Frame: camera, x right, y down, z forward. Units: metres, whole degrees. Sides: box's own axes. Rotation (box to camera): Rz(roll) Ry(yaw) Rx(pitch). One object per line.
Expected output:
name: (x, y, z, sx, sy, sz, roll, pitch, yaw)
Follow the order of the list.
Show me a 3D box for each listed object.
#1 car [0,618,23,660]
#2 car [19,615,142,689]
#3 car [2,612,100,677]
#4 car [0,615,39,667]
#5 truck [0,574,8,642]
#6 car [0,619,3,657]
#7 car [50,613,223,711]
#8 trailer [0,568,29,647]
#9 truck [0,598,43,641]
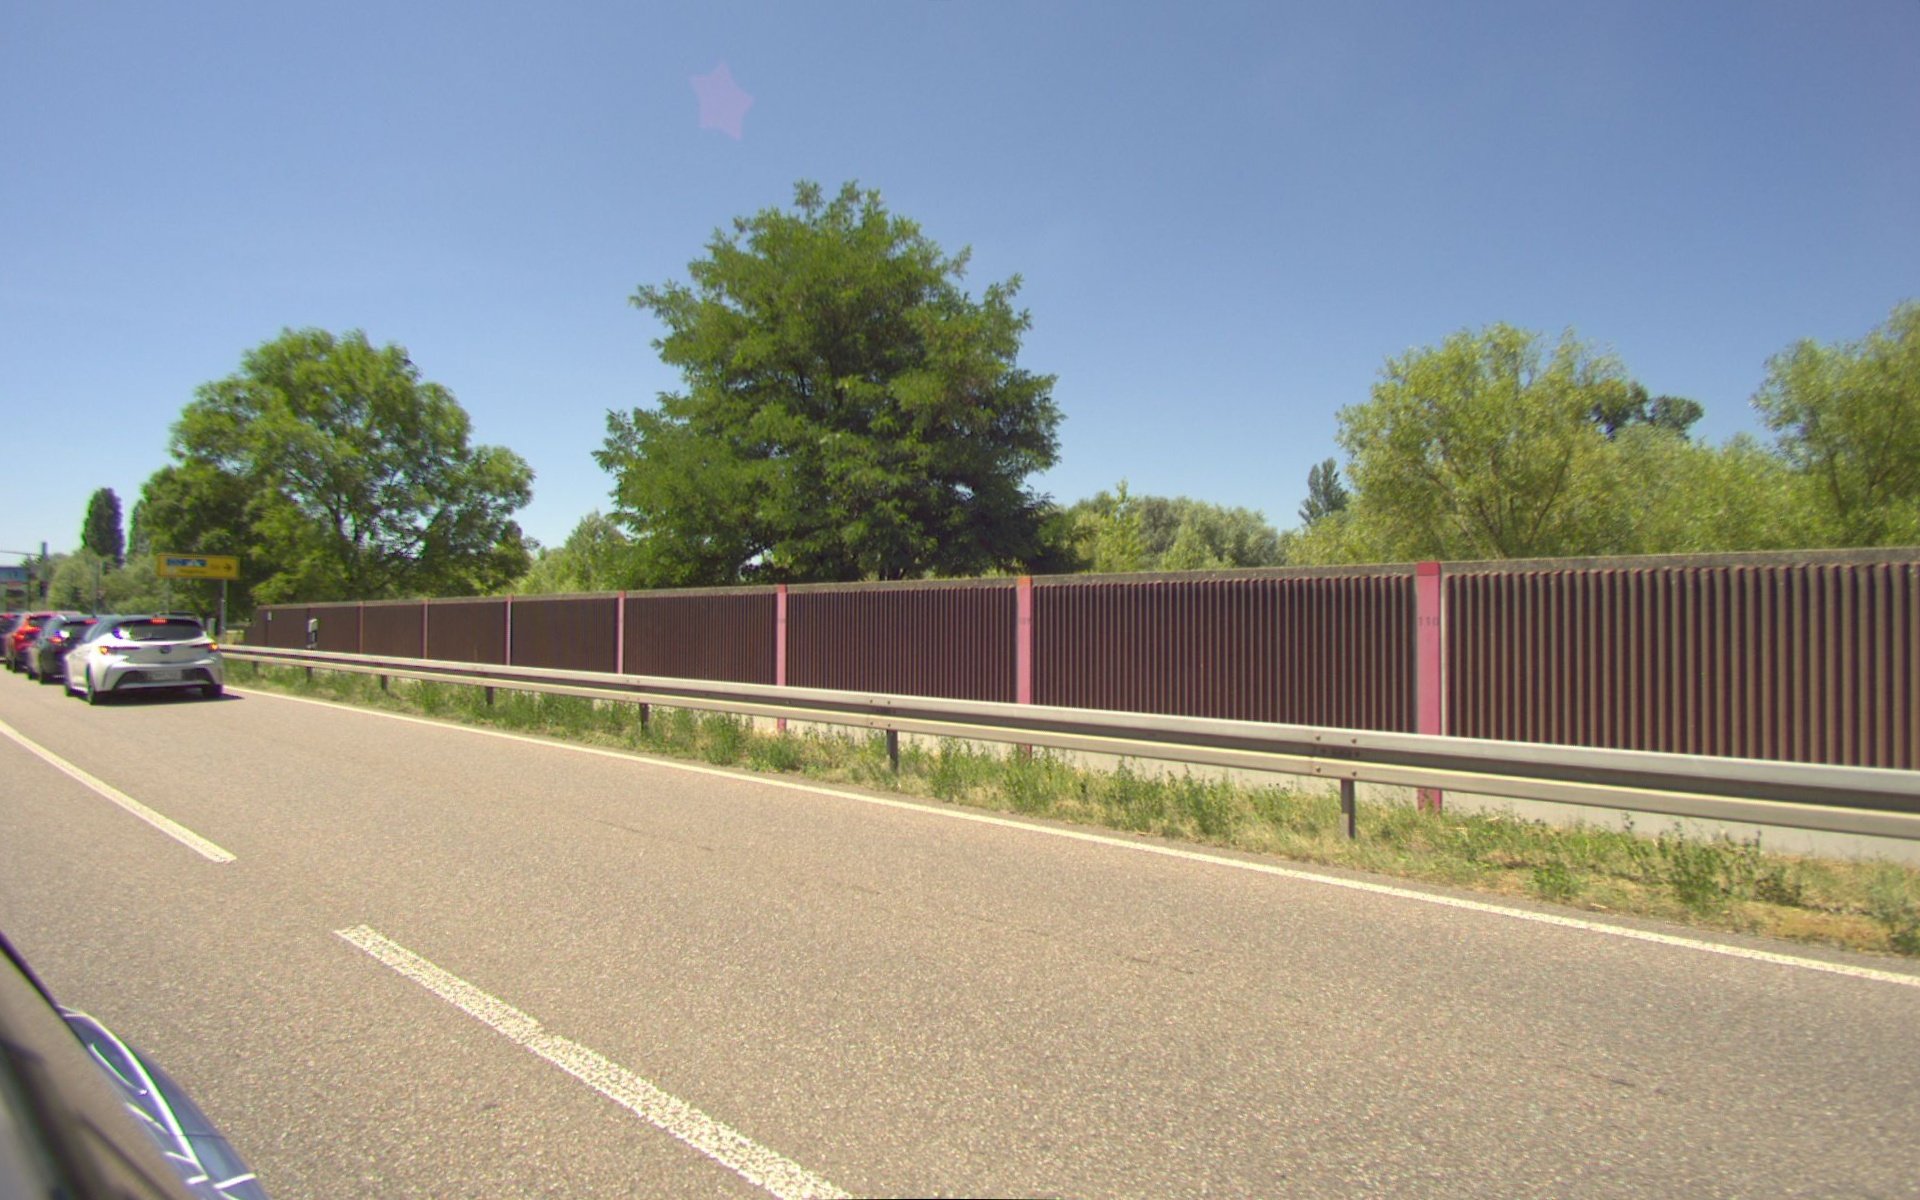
car: (-36.281, 1.448, 37.856, 4.632, 1.490, 1.634, -1, -1, 45)
car: (-19.860, 1.100, 22.782, 4.616, 1.471, 1.667, -1, 0, 43)
car: (-25.019, 1.177, 27.809, 4.280, 1.644, 1.736, -2, -1, 44)
car: (-31.406, 1.322, 33.064, 4.536, 1.601, 1.697, -1, -1, 45)
truck: (-60.017, 0.515, 61.531, 5.824, 4.075, 2.660, -1, 0, 42)
car: (-41.573, 1.588, 42.688, 1.605, 1.549, 4.387, 2, -2, -45)
car: (-14.555, 0.994, 17.782, 4.615, 1.471, 1.667, -1, 0, 42)
trailer: (-54.940, 0.446, 56.868, 14.122, 4.075, 2.660, -1, 0, 42)
truck: (-73.500, 1.387, 74.482, 2.666, 3.220, 9.147, 0, -2, 10)
